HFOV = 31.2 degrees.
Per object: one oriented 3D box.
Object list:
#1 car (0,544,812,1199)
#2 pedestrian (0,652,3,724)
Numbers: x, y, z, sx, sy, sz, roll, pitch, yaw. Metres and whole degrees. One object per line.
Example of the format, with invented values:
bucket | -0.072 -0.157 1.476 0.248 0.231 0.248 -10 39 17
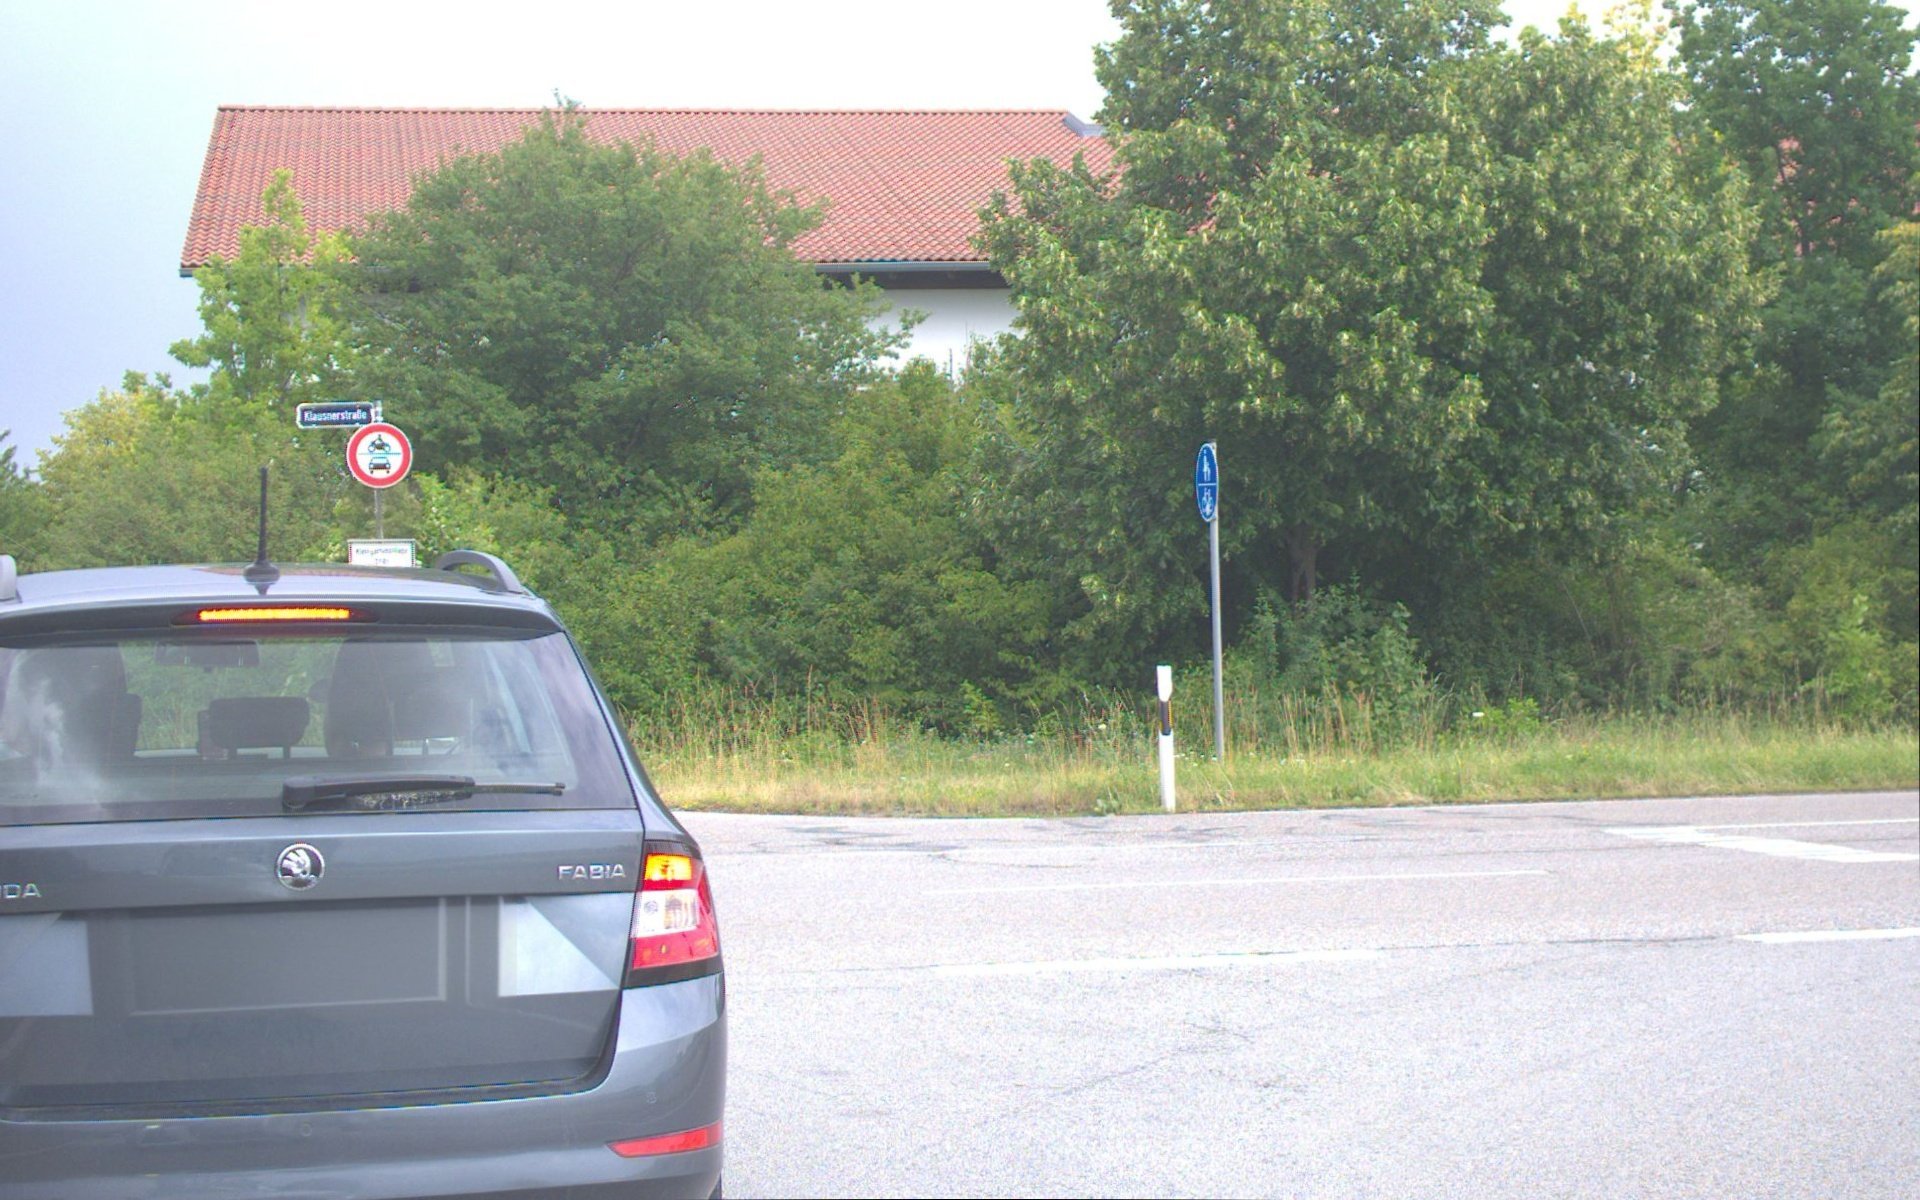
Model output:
car | -1.576 0.620 7.201 1.676 1.457 3.709 0 1 -16
pedestrian | -12.767 0.784 44.255 0.584 1.677 0.565 -1 2 17
